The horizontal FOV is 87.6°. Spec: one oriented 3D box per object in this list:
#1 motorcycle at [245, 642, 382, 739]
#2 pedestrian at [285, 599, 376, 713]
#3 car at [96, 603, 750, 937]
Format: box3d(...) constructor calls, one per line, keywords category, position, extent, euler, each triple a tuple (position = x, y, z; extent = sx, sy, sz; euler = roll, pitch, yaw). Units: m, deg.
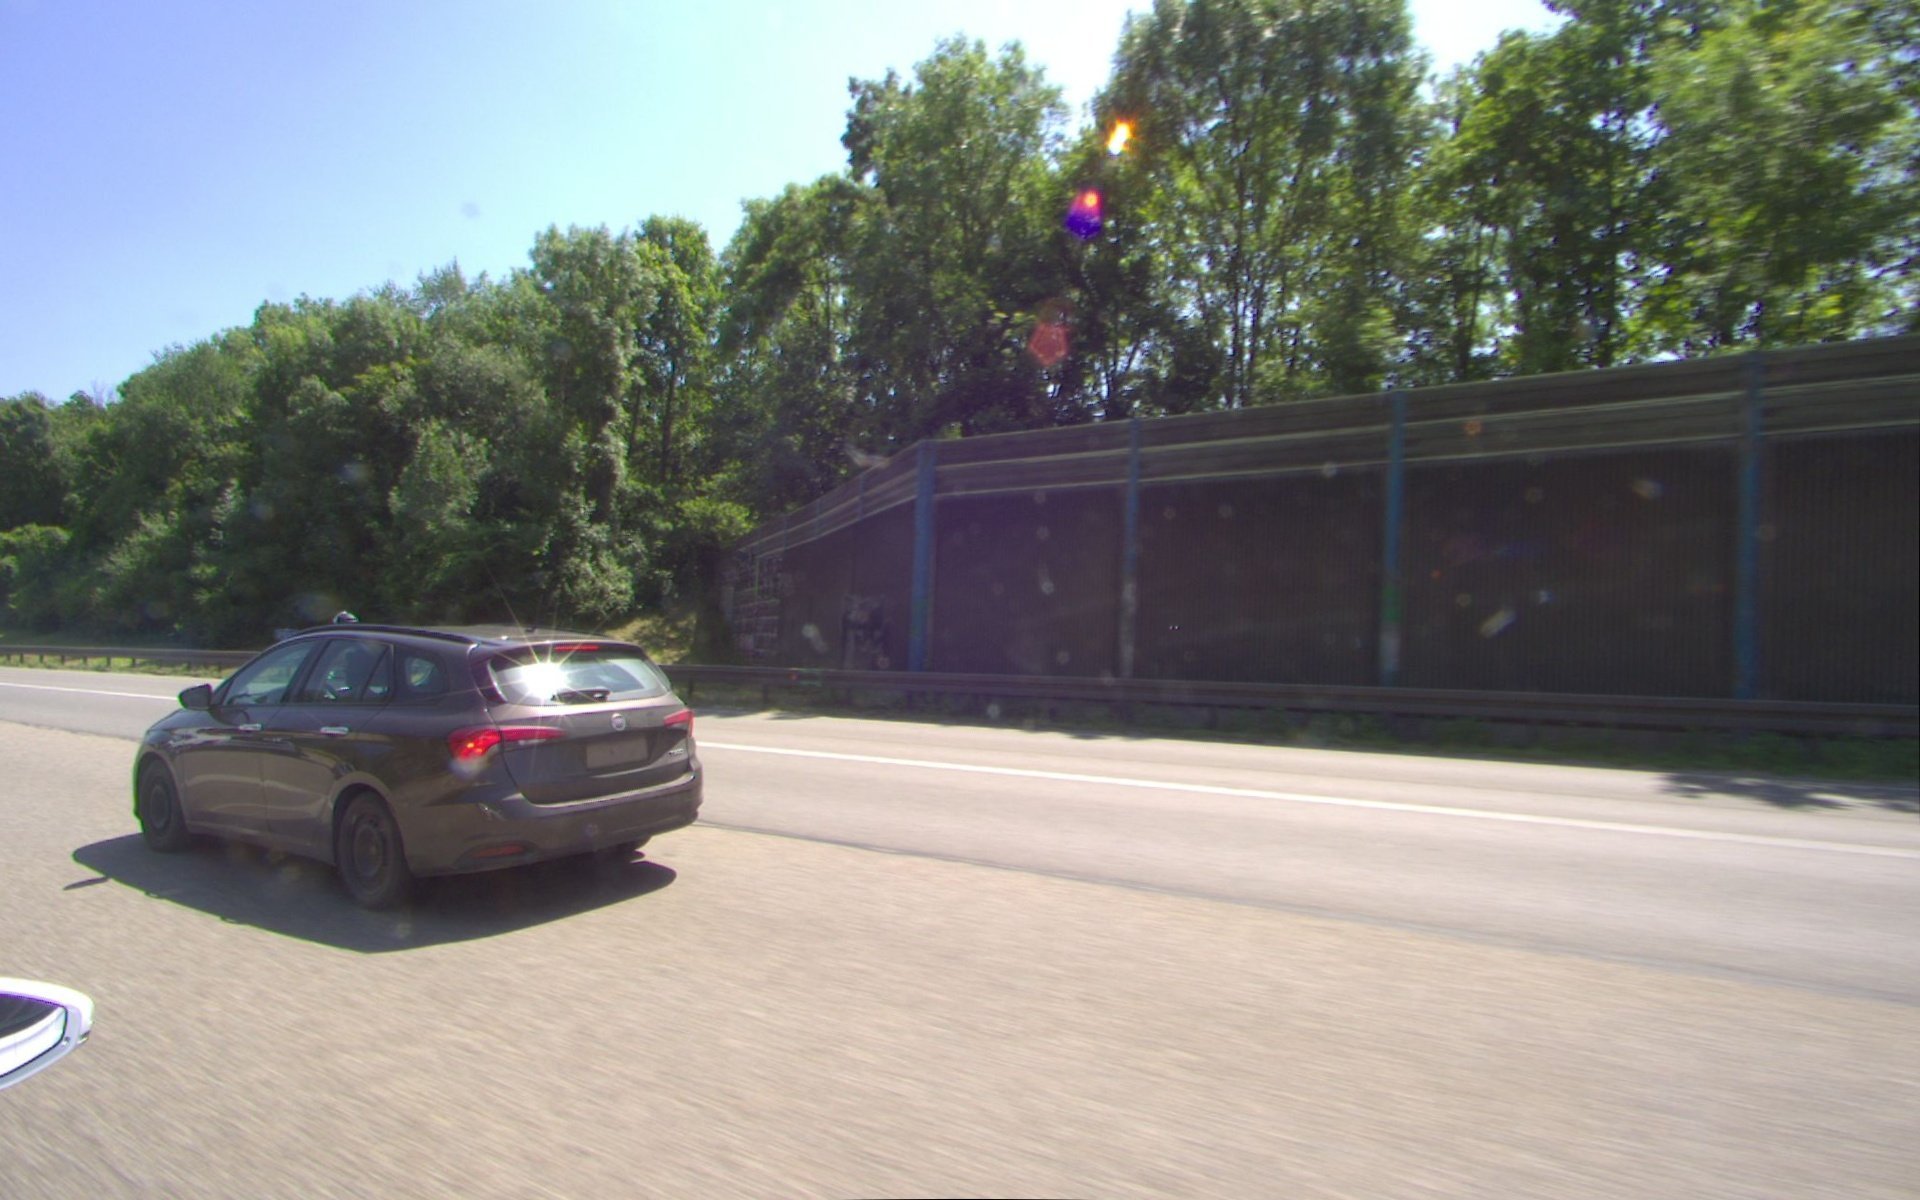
box3d(category="motorcycle", position=(-9.031, 1.216, 13.955), extent=(2.246, 1.197, 0.857), euler=(0, -1, 36))
box3d(category="pedestrian", position=(-8.556, 0.746, 13.623), extent=(0.630, 1.498, 0.849), euler=(1, -1, 36))
box3d(category="car", position=(-3.636, 0.825, 6.575), extent=(4.337, 1.532, 1.836), euler=(0, -1, 31))
